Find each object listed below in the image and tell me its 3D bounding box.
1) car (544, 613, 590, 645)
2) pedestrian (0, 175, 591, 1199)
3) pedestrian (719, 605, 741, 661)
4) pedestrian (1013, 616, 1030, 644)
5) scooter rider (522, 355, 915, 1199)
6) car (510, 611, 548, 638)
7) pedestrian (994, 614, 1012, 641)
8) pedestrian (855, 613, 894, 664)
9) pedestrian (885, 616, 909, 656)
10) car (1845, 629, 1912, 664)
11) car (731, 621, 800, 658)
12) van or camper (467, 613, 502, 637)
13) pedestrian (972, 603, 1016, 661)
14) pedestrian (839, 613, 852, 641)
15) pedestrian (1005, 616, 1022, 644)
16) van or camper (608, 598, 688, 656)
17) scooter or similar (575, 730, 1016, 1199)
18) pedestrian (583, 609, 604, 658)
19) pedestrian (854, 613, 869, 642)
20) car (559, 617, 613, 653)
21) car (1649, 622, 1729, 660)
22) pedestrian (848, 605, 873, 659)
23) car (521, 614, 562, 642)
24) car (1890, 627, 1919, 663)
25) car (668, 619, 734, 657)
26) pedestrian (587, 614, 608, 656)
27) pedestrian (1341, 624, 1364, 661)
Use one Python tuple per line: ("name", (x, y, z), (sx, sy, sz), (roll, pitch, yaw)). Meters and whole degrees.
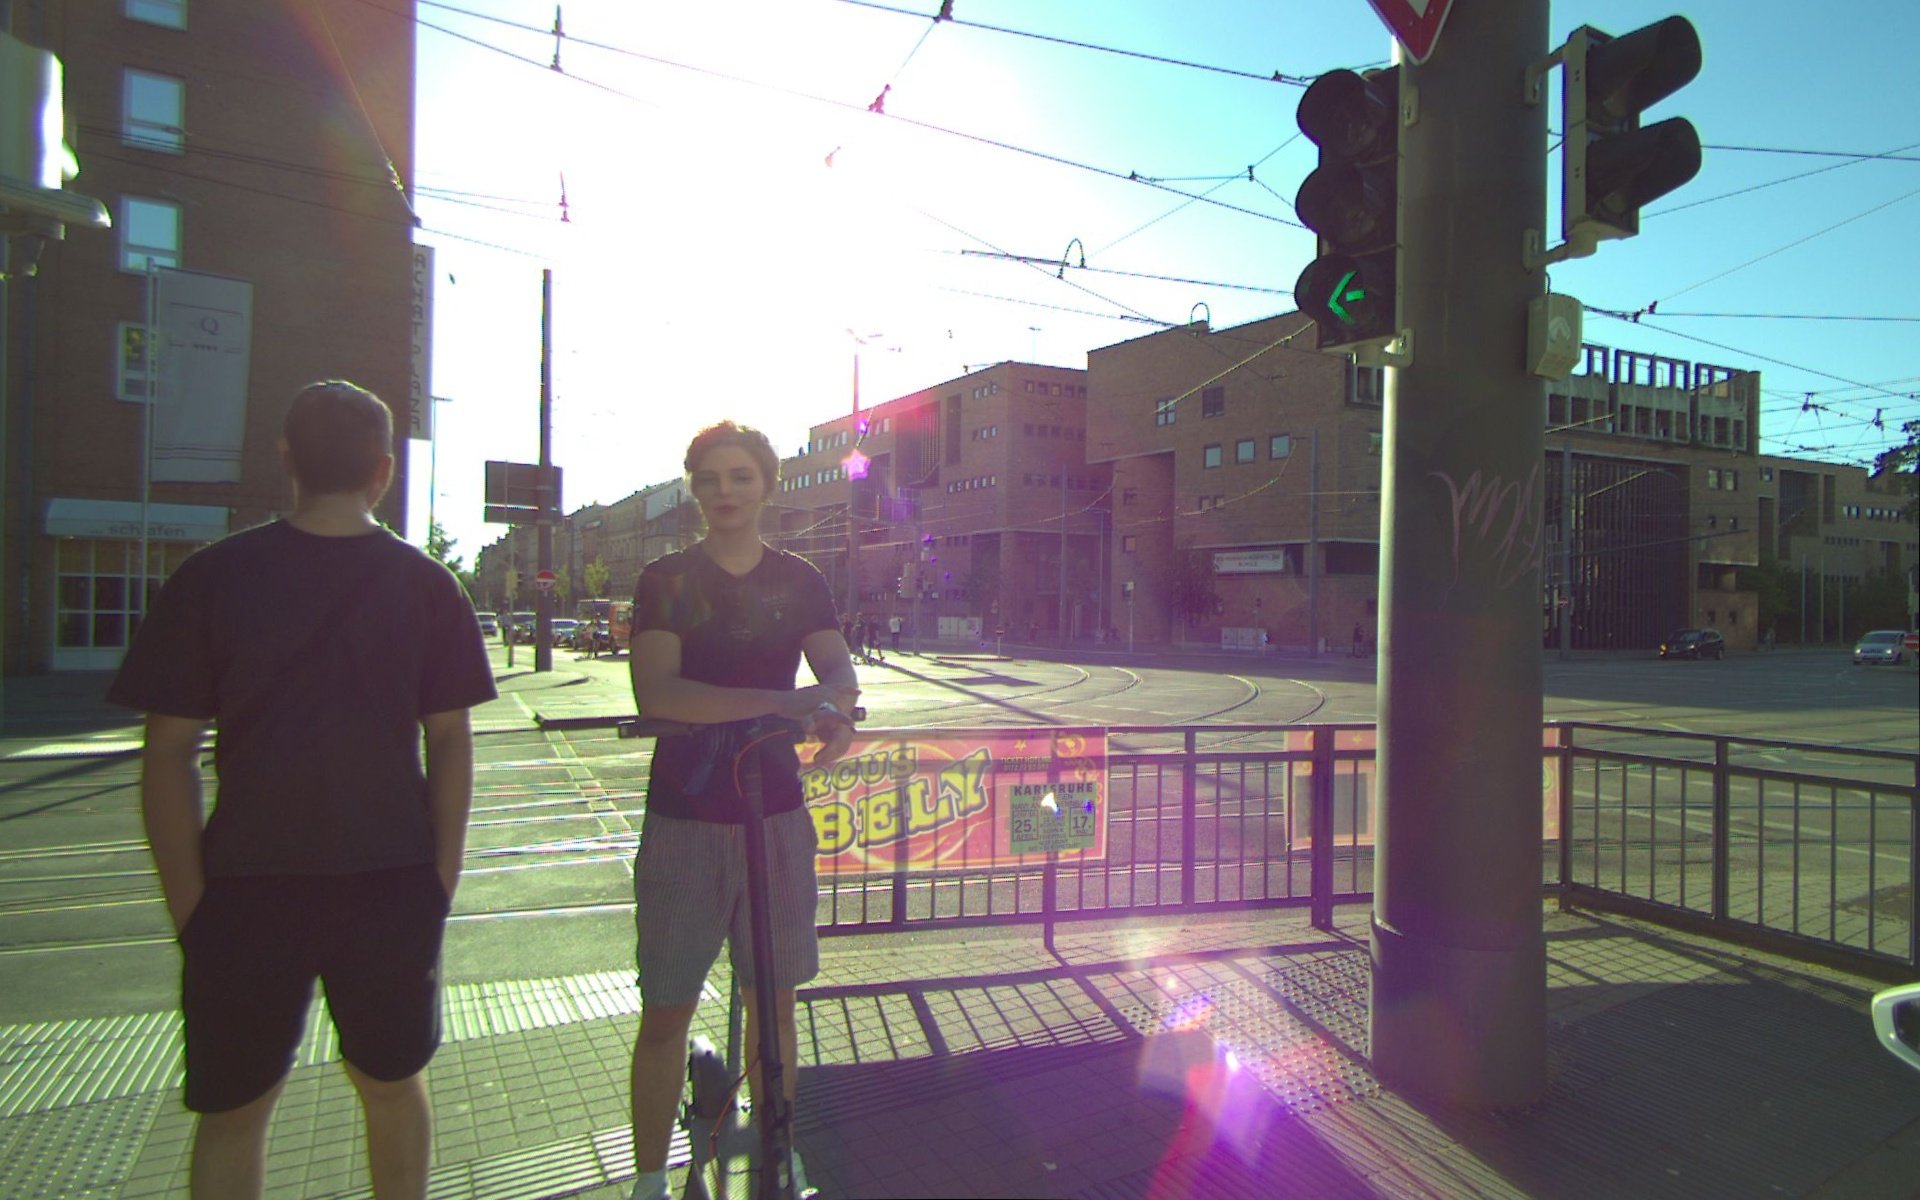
("car", (-22.399, 1.657, 57.190), (1.738, 1.751, 3.965), (1, -1, -32))
("pedestrian", (-1.165, 0.471, 1.792), (0.842, 1.909, 1.164), (1, -1, -25))
("pedestrian", (-8.421, 1.215, 36.789), (0.721, 2.040, 0.612), (1, -1, -17))
("pedestrian", (4.565, 2.210, 74.606), (0.840, 2.079, 1.001), (1, -1, -31))
("scooter rider", (-0.548, 0.513, 2.201), (0.670, 1.877, 0.564), (3, -2, -25))
("car", (-28.910, 1.661, 67.319), (1.738, 1.751, 3.965), (1, -1, -32))
("pedestrian", (3.235, 2.049, 75.514), (0.902, 2.040, 1.151), (1, -1, -33))
("pedestrian", (-3.150, 1.419, 37.060), (0.944, 1.822, 0.988), (2, 0, 42))
("pedestrian", (-2.856, 1.642, 45.743), (0.857, 1.775, 0.672), (1, -1, -30))
("car", (44.239, 2.209, 48.363), (3.961, 1.598, 1.610), (2, -1, -36))
("car", (-9.490, 1.890, 48.850), (1.978, 1.709, 3.965), (1, -1, -32))
("van or camper", (-39.539, 2.056, 83.510), (1.994, 1.751, 4.615), (2, 0, -33))
("pedestrian", (1.254, 1.173, 36.977), (1.193, 2.040, 1.028), (2, 0, -30))
("pedestrian", (-8.147, 1.924, 71.635), (0.644, 2.040, 0.780), (1, -1, -31))
("pedestrian", (4.065, 2.255, 76.001), (0.840, 2.079, 1.001), (1, -1, -31))
("van or camper", (-14.082, 1.210, 45.134), (1.981, 2.451, 4.981), (1, -1, -35))
("scooter or similar", (-0.445, 0.904, 2.192), (0.639, 1.095, 1.199), (1, -1, -25))
("pedestrian", (-15.521, 1.417, 42.520), (0.597, 2.040, 0.848), (1, -1, -37))
("pedestrian", (-6.840, 1.903, 69.704), (0.742, 2.010, 0.780), (1, -1, -31))
("car", (-19.038, 1.770, 51.026), (1.738, 1.751, 3.964), (1, -1, -33))
("car", (40.775, 2.284, 56.189), (4.414, 2.040, 1.869), (1, -1, -27))
("pedestrian", (-3.805, 1.229, 38.440), (0.603, 2.040, 0.731), (0, -1, 31))
("car", (-26.364, 1.746, 63.247), (1.738, 1.751, 3.965), (1, -1, -32))
("car", (50.357, 2.332, 52.523), (3.961, 1.813, 1.810), (2, -1, -36))
("car", (-12.484, 1.782, 48.248), (1.978, 1.709, 3.965), (1, -1, -32))
("pedestrian", (-16.122, 1.549, 44.666), (0.597, 1.843, 0.848), (1, -1, -37))
("pedestrian", (20.942, 2.247, 53.569), (0.866, 1.927, 0.718), (2, 0, -33))
